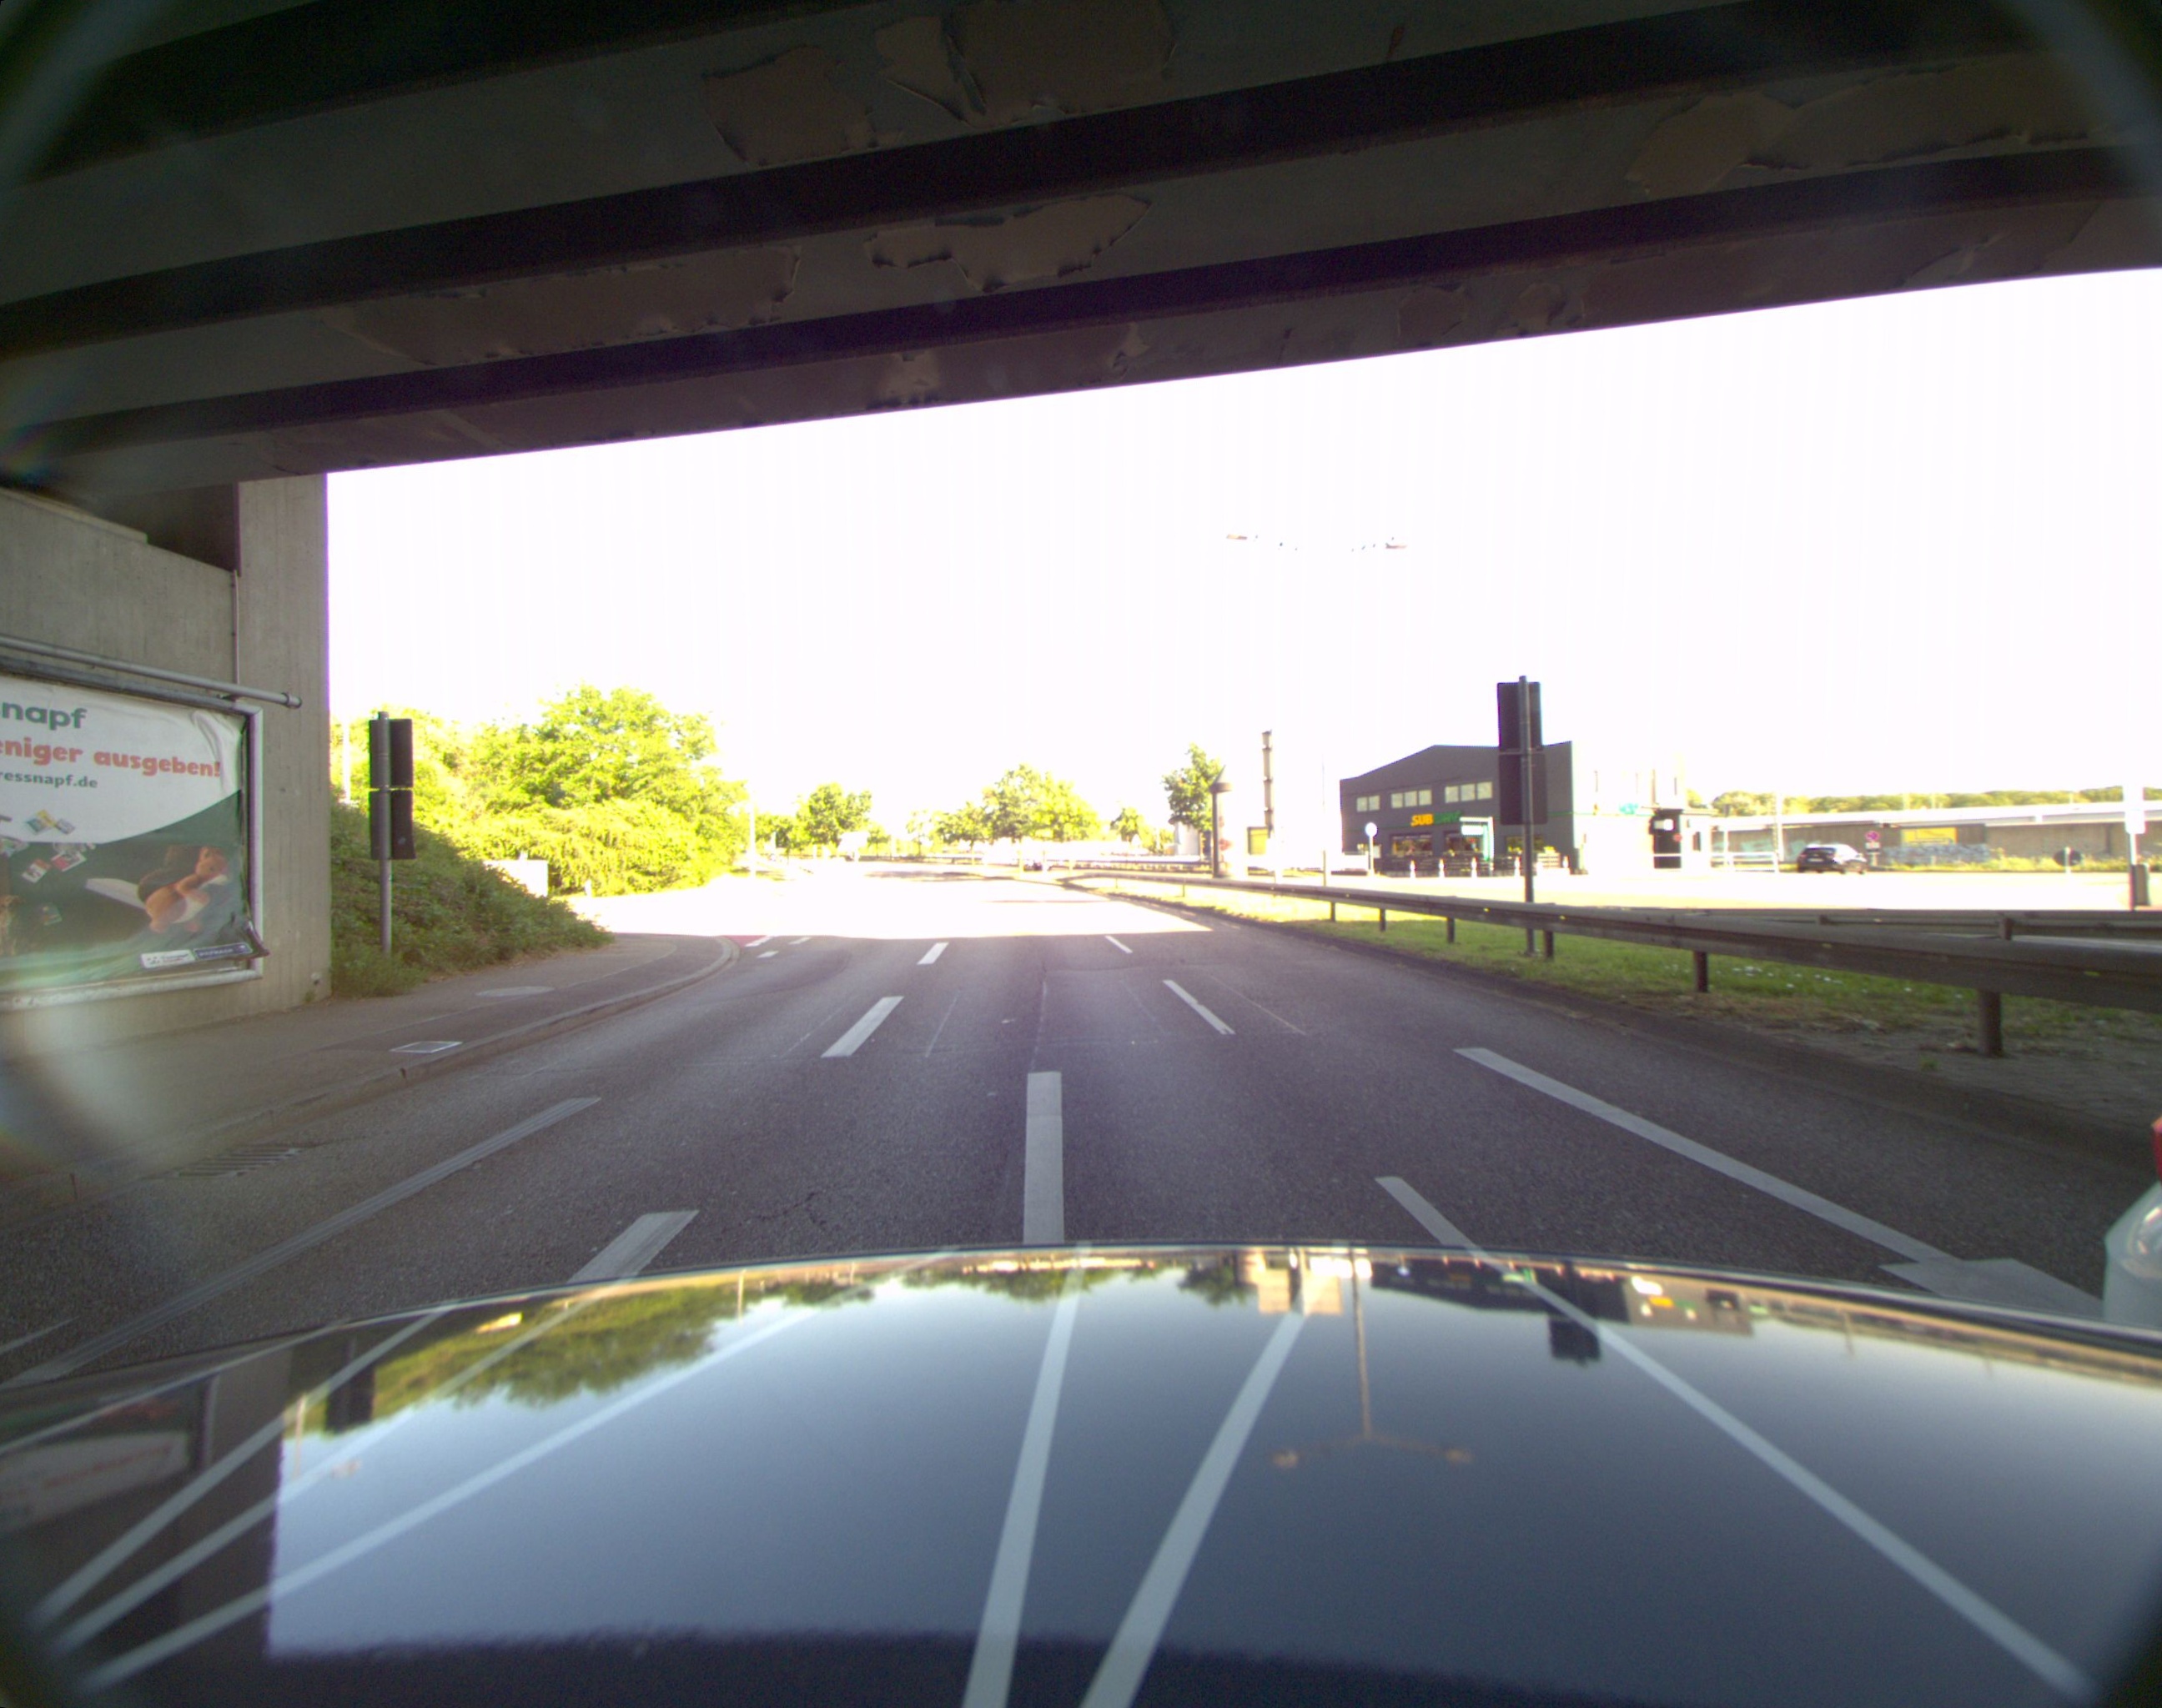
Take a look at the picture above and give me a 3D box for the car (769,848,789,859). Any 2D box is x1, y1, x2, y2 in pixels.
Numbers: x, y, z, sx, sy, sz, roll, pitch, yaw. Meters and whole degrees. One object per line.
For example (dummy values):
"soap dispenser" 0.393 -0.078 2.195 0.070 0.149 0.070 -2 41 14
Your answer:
"car" -47.476 -0.074 119.346 1.742 1.411 4.308 0 -2 -37

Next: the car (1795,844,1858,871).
"car" 38.290 0.183 39.016 4.191 1.274 1.825 1 0 -39

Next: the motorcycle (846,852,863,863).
"motorcycle" -34.099 0.505 114.560 1.111 1.651 3.146 -3 1 -42

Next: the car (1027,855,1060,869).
"car" -3.522 0.735 70.102 1.750 1.274 4.175 1 0 -21

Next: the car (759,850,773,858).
"car" -56.292 0.014 135.841 1.741 1.411 4.310 -1 -2 -30

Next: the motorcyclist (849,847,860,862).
"motorcyclist" -34.084 0.032 114.505 1.111 2.228 1.179 -3 2 -42

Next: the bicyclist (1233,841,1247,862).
"bicyclist" 11.436 -0.181 54.649 0.594 1.419 0.707 -3 1 -23

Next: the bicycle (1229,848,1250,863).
"bicycle" 11.434 0.098 54.709 0.594 1.017 1.747 -3 1 -22
